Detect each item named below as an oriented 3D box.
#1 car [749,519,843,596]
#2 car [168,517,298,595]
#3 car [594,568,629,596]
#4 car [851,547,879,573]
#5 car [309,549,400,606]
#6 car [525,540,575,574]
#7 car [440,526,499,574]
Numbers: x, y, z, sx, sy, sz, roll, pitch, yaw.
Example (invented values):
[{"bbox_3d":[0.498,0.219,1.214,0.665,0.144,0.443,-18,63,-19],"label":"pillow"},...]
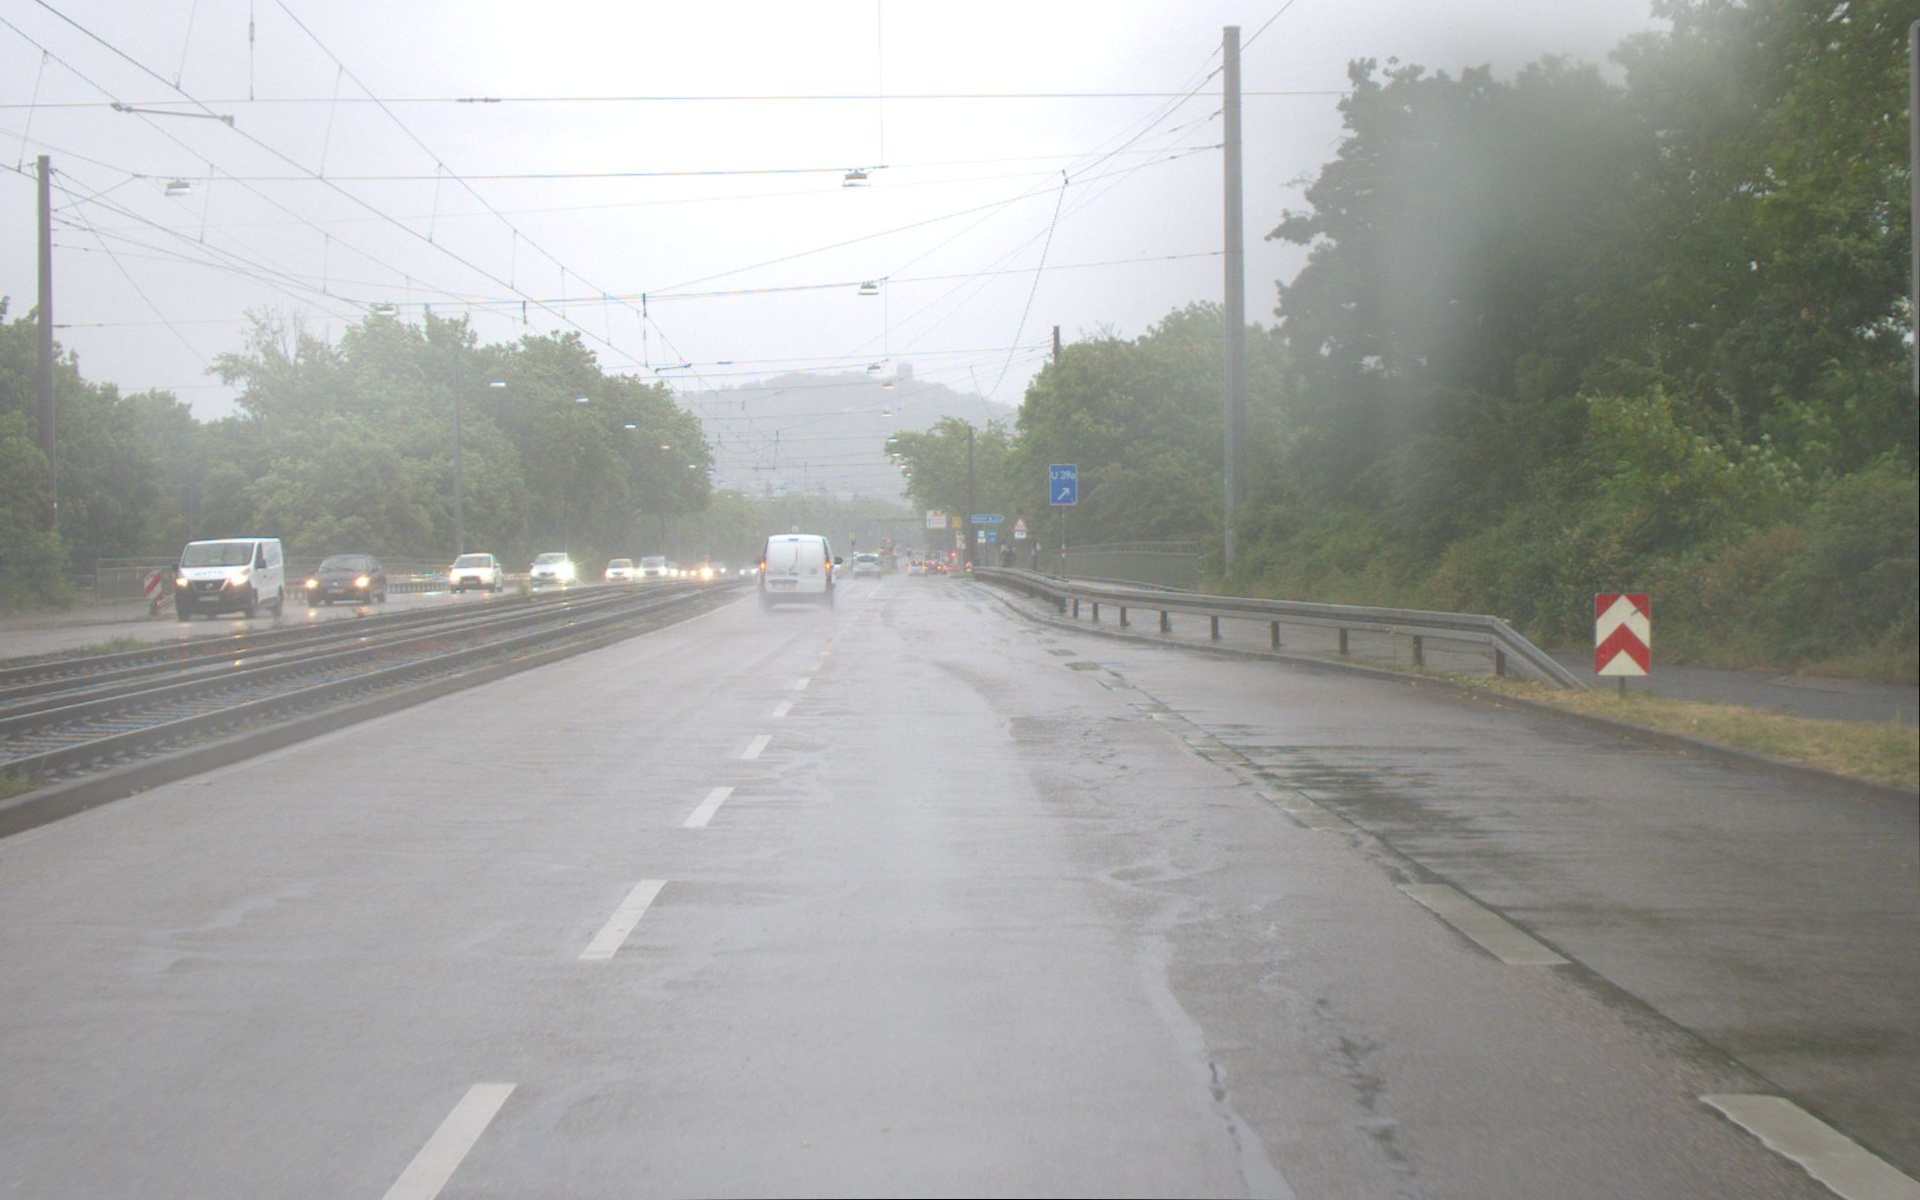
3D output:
[{"bbox_3d":[-3.841,-1.025,81.038,1.989,1.678,3.740,1,2,1],"label":"car"},{"bbox_3d":[-17.793,-1.116,84.363,2.040,1.769,4.986,1,2,1],"label":"car"},{"bbox_3d":[-20.307,-1.035,200.585,1.743,1.503,3.700,1,2,-1],"label":"car"},{"bbox_3d":[-6.103,-2.580,221.189,1.743,1.503,3.700,1,2,-1],"label":"car"},{"bbox_3d":[-17.783,-0.679,101.093,1.689,1.513,4.611,1,2,2],"label":"car"},{"bbox_3d":[-18.775,-1.995,157.684,1.797,1.448,4.195,1,2,0],"label":"car"},{"bbox_3d":[-18.647,-1.930,130.839,1.754,1.705,4.001,1,2,-1],"label":"car"}]
